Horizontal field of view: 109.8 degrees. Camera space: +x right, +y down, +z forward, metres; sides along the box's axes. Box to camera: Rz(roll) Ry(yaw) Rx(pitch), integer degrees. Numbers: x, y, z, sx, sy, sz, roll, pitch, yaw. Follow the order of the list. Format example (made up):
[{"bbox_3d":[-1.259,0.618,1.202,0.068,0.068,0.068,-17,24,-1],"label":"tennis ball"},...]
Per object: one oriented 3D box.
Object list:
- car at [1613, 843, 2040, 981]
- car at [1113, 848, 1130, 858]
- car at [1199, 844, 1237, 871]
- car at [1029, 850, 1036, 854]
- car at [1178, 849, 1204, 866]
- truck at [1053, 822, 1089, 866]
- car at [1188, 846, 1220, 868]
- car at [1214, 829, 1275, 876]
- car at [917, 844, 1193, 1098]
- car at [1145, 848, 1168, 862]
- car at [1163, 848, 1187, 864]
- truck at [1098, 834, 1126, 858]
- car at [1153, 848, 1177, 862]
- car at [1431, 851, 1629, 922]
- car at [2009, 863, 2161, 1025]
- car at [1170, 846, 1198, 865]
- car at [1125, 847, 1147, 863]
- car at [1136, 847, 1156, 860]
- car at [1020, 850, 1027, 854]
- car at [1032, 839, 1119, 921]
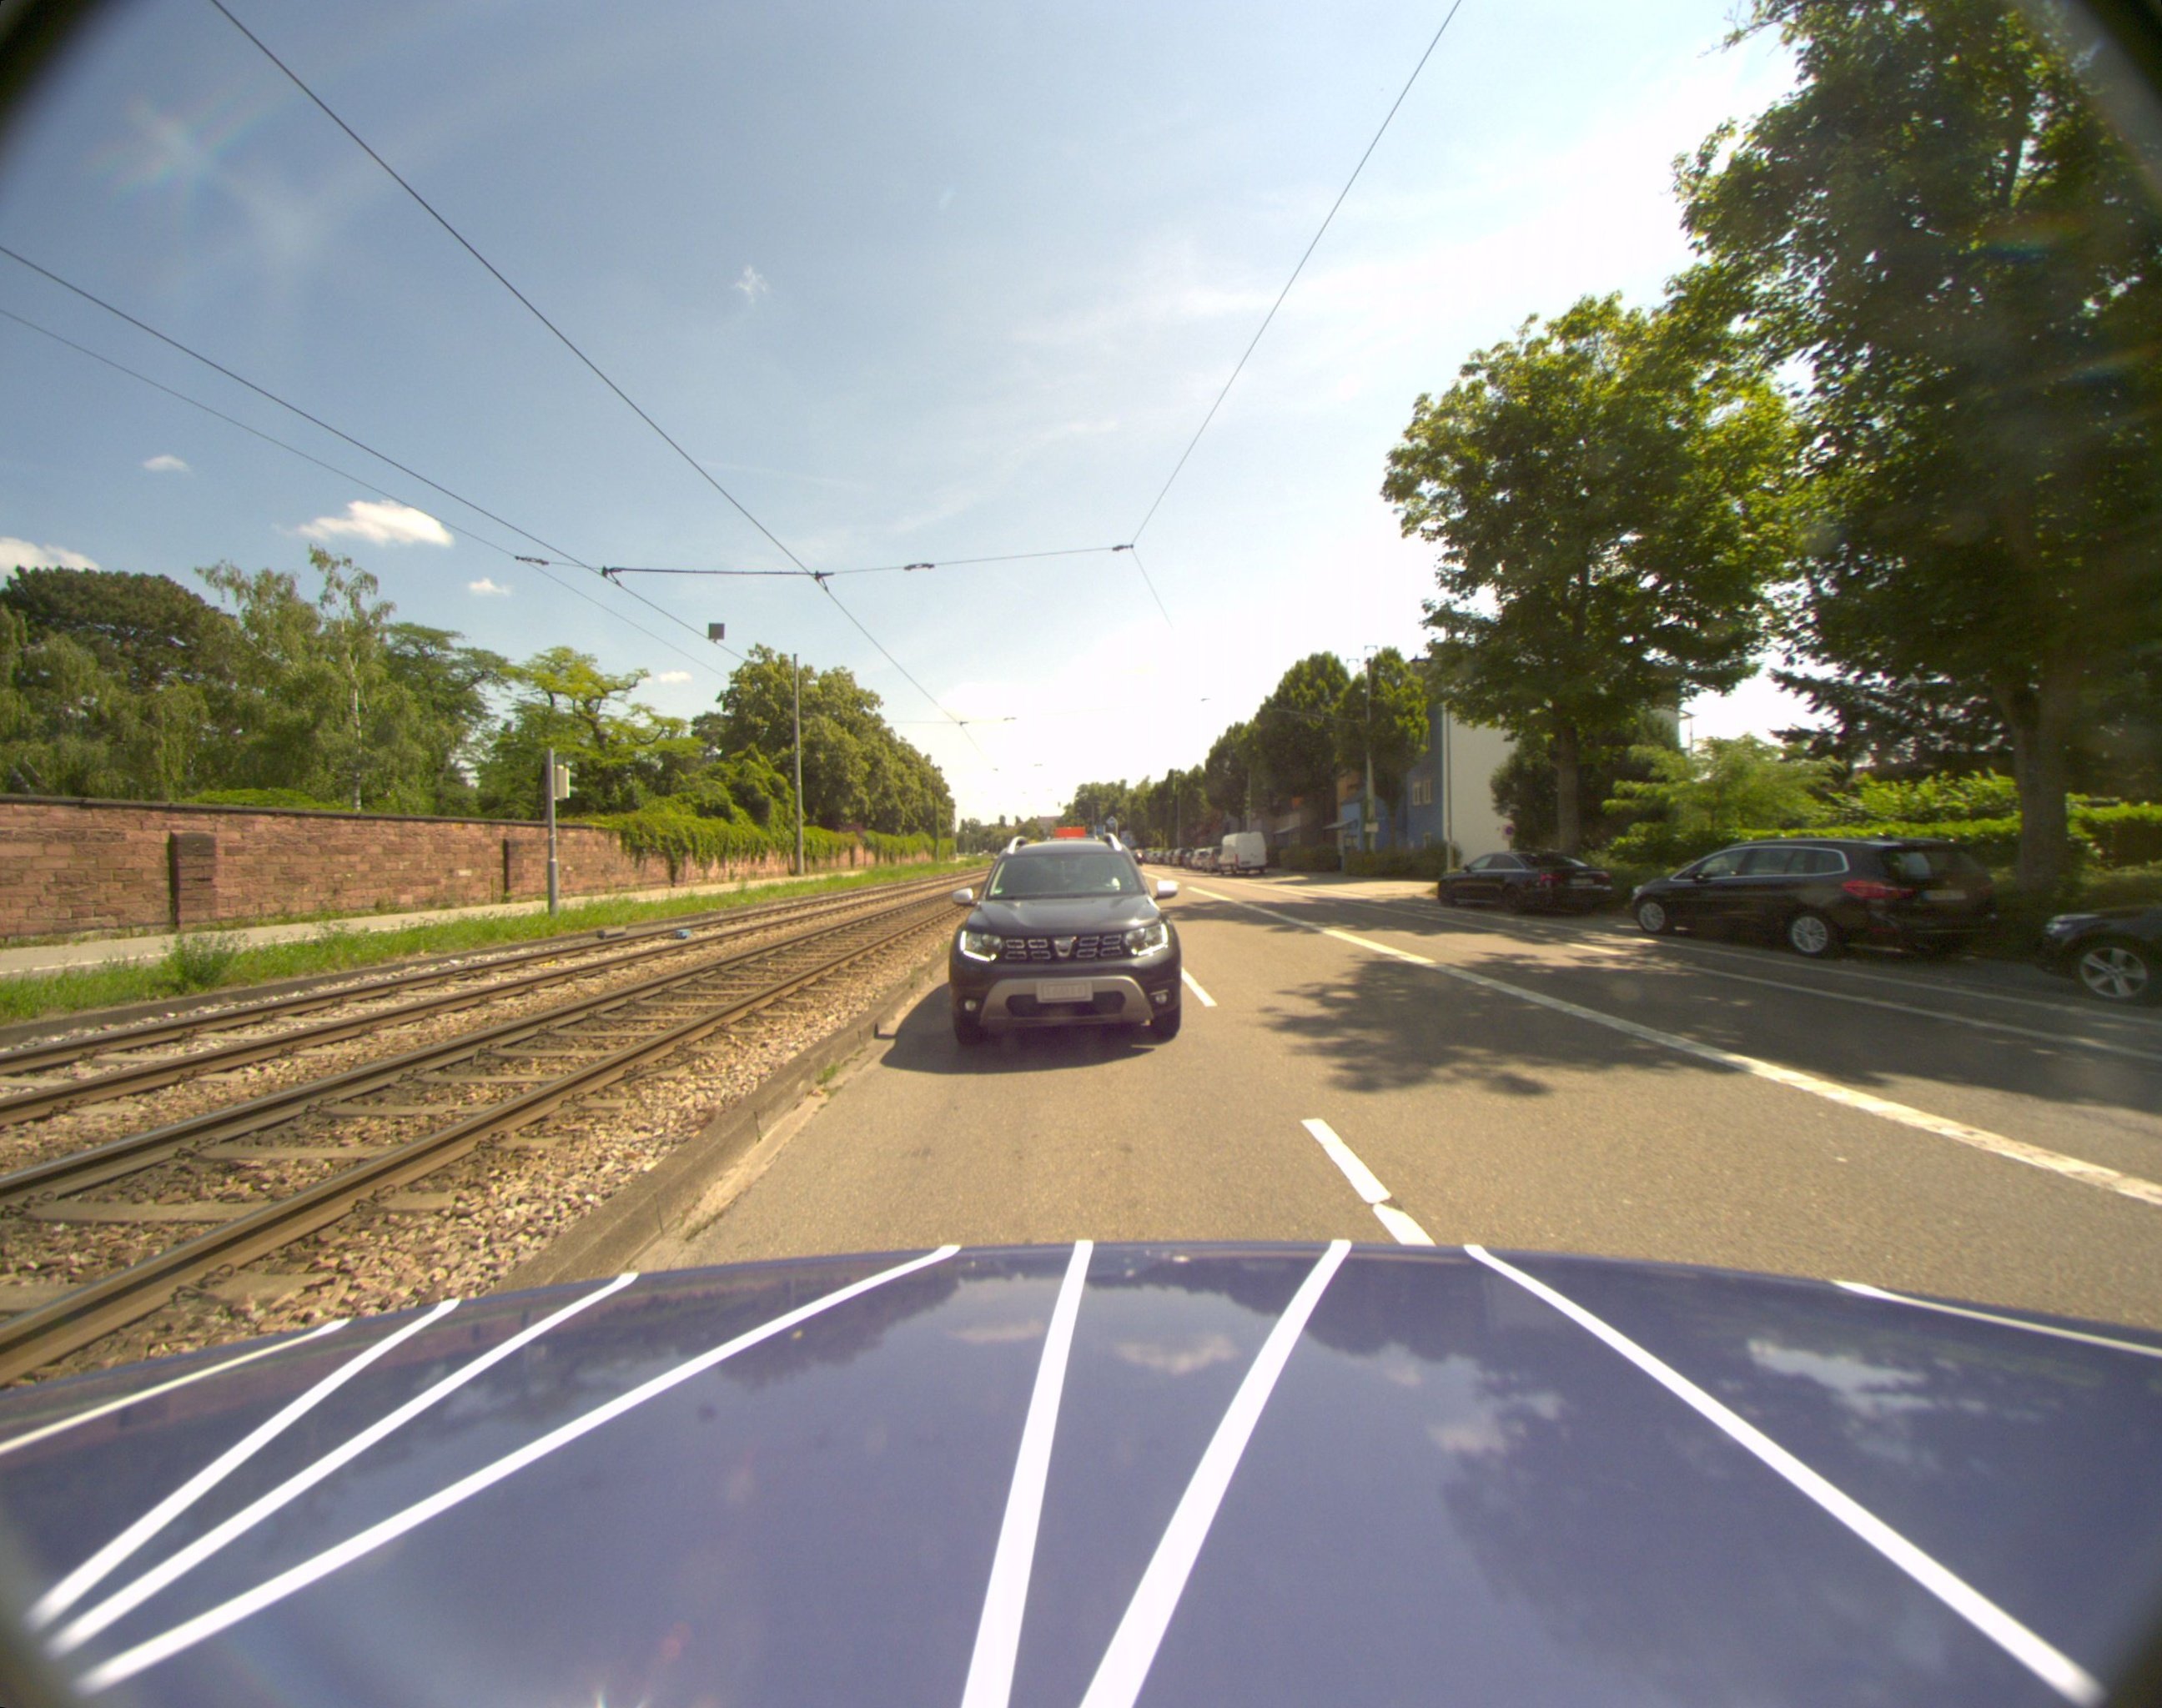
[{"bbox_3d":[10.569,0.674,11.420,1.779,1.595,4.636,-2,1,-2],"label":"car"},{"bbox_3d":[5.876,-0.161,110.842,1.661,1.402,4.394,0,1,-7],"label":"car"},{"bbox_3d":[10.359,0.230,57.722,1.811,1.884,5.361,-3,0,0],"label":"car"},{"bbox_3d":[-15.699,-0.722,245.337,2.000,1.379,3.997,0,0,-8],"label":"car"},{"bbox_3d":[9.910,0.315,68.708,1.603,1.462,4.086,-1,1,-2],"label":"car"},{"bbox_3d":[-0.962,-0.862,66.703,2.846,3.575,8.703,-1,1,-2],"label":"truck"},{"bbox_3d":[10.181,0.248,63.200,1.721,1.742,4.902,0,1,-1],"label":"car"},{"bbox_3d":[10.553,-0.103,49.625,2.329,2.636,7.034,-5,0,1],"label":"car"},{"bbox_3d":[-0.205,0.758,7.521,1.802,1.652,4.786,-2,1,-1],"label":"car"},{"bbox_3d":[8.949,0.065,90.666,1.660,1.500,4.892,-4,1,-6],"label":"car"},{"bbox_3d":[9.782,0.162,79.252,1.660,1.608,4.283,0,1,-3],"label":"car"},{"bbox_3d":[4.892,-1.257,122.606,2.840,3.528,8.163,-3,1,-9],"label":"truck"},{"bbox_3d":[9.363,0.091,85.190,1.746,1.438,4.961,-2,1,-5],"label":"car"},{"bbox_3d":[10.437,0.664,18.179,1.779,1.447,4.803,-1,0,-2],"label":"car"},{"bbox_3d":[10.681,0.830,5.635,1.779,1.365,4.695,-3,1,-2],"label":"car"},{"bbox_3d":[9.989,0.128,73.805,1.756,1.706,4.886,0,0,-3],"label":"car"},{"bbox_3d":[5.188,0.080,72.303,1.682,1.390,4.004,1,0,-2],"label":"car"},{"bbox_3d":[8.225,-0.049,96.781,1.660,1.600,4.685,-3,0,-6],"label":"car"},{"bbox_3d":[-17.965,-0.639,238.300,2.000,1.379,3.997,0,0,-8],"label":"car"},{"bbox_3d":[-0.138,0.531,18.339,1.801,1.683,4.143,-2,1,-1],"label":"car"}]
